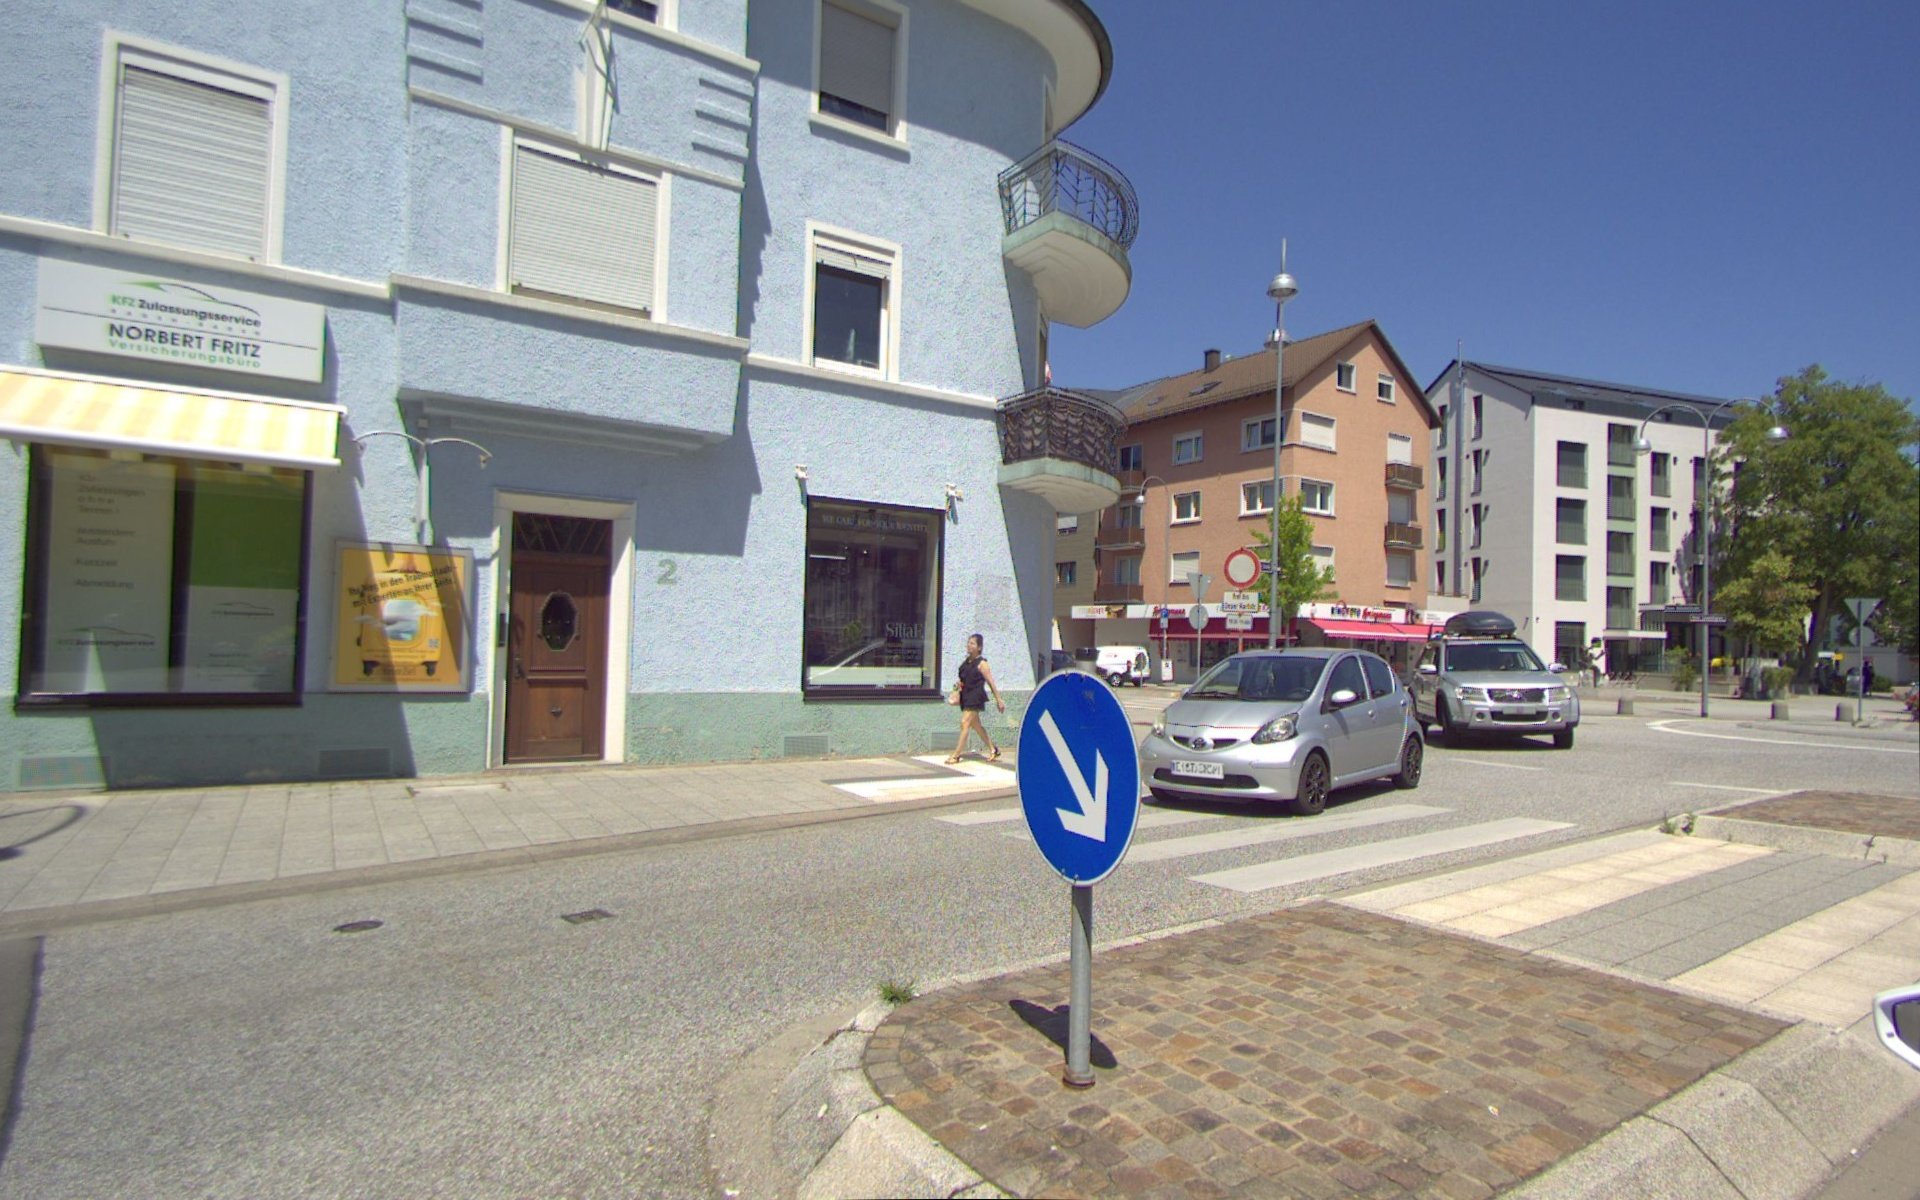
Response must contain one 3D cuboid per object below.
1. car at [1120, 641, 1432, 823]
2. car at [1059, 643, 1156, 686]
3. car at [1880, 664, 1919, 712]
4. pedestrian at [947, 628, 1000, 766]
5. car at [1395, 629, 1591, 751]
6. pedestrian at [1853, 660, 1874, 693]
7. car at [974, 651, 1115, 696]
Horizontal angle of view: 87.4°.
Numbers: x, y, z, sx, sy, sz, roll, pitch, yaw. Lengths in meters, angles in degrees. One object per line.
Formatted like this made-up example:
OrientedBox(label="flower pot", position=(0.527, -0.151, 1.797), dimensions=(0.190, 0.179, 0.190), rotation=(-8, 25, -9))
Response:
OrientedBox(label="car", position=(3.221, 1.172, 9.918), dimensions=(1.559, 1.469, 3.450), rotation=(-4, -5, 43))
OrientedBox(label="car", position=(6.467, 2.810, 44.322), dimensions=(3.946, 1.772, 1.791), rotation=(-2, -4, 44))
OrientedBox(label="car", position=(33.100, 3.004, 34.225), dimensions=(3.965, 1.529, 1.978), rotation=(3, -2, -38))
OrientedBox(label="pedestrian", position=(0.164, 1.147, 12.059), dimensions=(0.535, 1.606, 0.515), rotation=(0, -3, 11))
OrientedBox(label="car", position=(8.488, 1.437, 16.420), dimensions=(1.801, 1.710, 4.205), rotation=(-2, -4, 14))
OrientedBox(label="pedestrian", position=(44.642, 3.793, 49.622), dimensions=(0.553, 1.596, 0.534), rotation=(2, -2, -19))
OrientedBox(label="car", position=(2.867, 2.486, 34.152), dimensions=(4.423, 1.421, 1.778), rotation=(-2, -2, 25))
